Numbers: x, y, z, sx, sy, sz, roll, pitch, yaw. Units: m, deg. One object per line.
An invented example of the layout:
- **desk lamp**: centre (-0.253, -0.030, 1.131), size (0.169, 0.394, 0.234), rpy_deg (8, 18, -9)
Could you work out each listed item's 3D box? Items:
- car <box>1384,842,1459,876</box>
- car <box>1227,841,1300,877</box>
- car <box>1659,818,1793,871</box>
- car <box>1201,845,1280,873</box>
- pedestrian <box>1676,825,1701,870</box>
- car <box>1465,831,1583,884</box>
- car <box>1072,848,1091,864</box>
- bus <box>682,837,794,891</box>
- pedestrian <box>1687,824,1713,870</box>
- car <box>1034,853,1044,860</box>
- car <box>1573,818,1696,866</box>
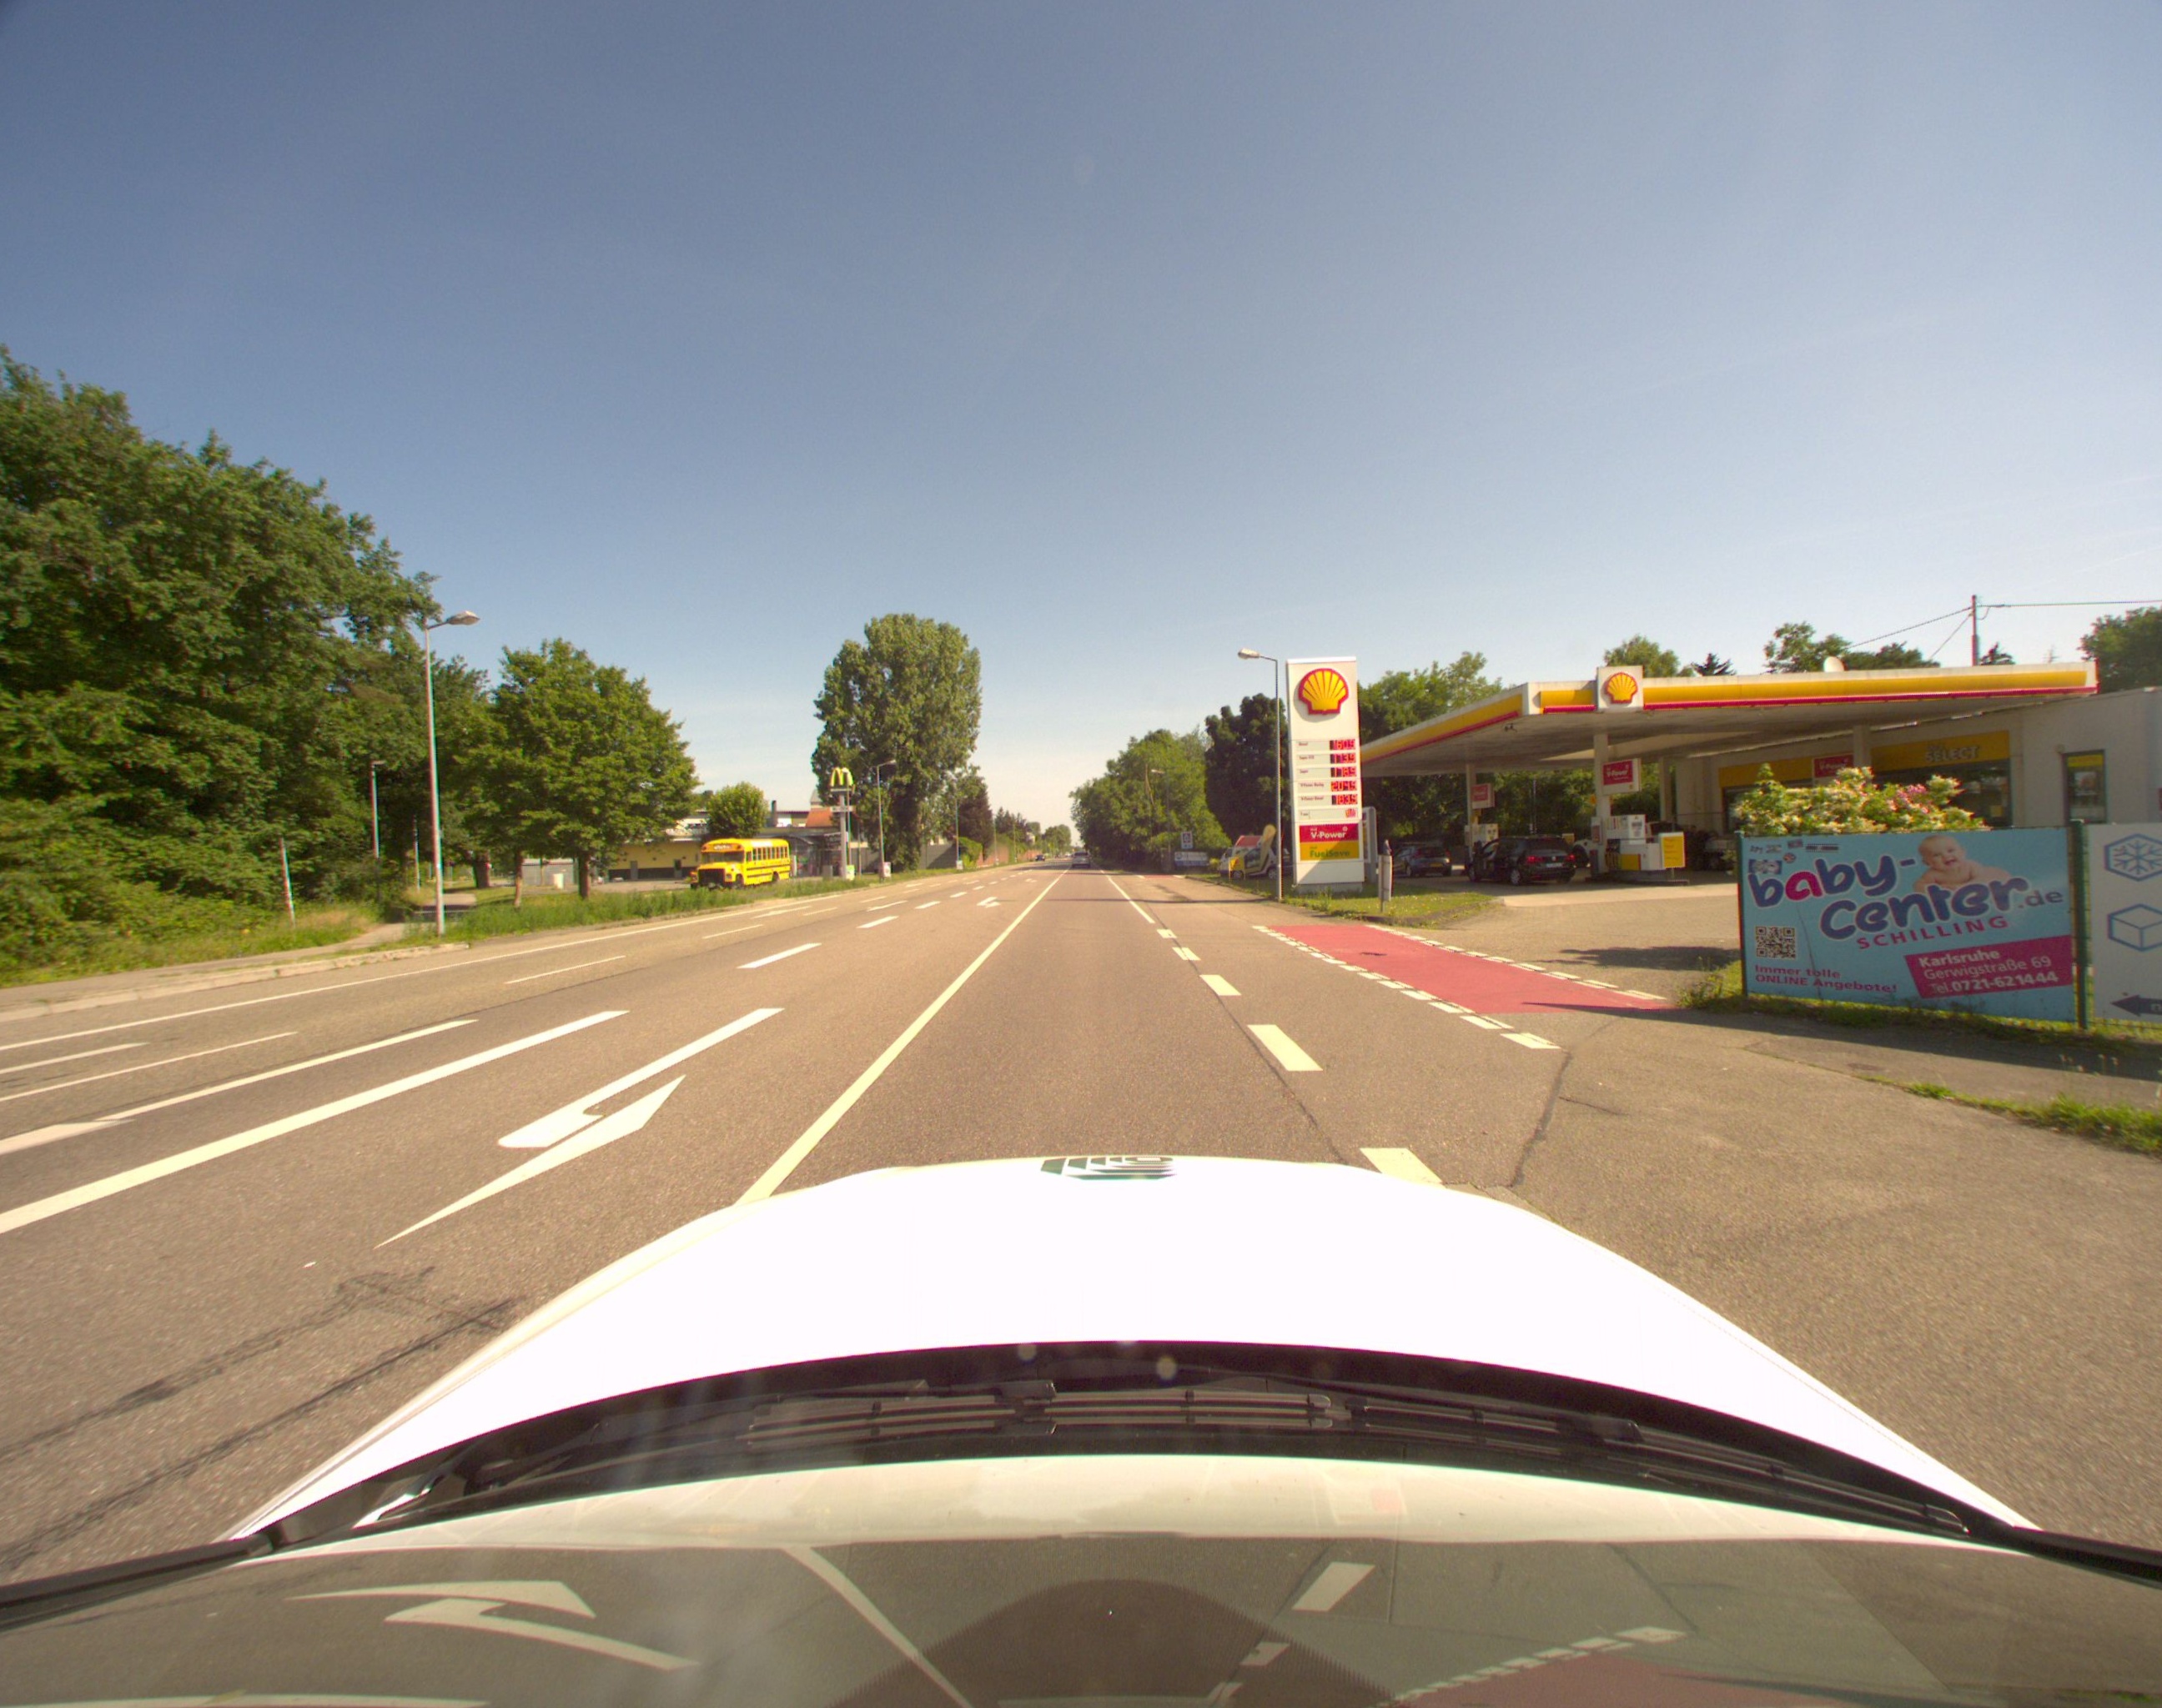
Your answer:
- **car**: centre (14.747, 0.198, 35.500), size (1.790, 1.360, 3.851), rpy_deg (-2, 0, 3)
- **car**: centre (8.114, 0.229, 36.278), size (2.697, 1.530, 1.587), rpy_deg (-2, -2, 44)
- **car**: centre (23.195, -0.311, 29.498), size (1.819, 1.728, 4.004), rpy_deg (-2, -1, 4)
- **car**: centre (8.827, 0.281, 45.189), size (3.983, 1.530, 1.582), rpy_deg (0, -1, -7)
- **pedestrian**: centre (22.089, -0.236, 29.609), size (0.497, 1.631, 0.476), rpy_deg (-2, 0, 3)
- **car**: centre (14.711, 0.111, 27.316), size (1.754, 1.578, 3.875), rpy_deg (-2, 0, -1)
- **car**: centre (0.050, 0.239, 82.108), size (1.840, 1.541, 4.224), rpy_deg (0, 0, 0)
- **bus**: centre (-18.739, 0.512, 45.227), size (2.572, 2.679, 8.991), rpy_deg (0, 0, -2)
- **pedestrian**: centre (21.941, -0.253, 28.858), size (0.497, 1.593, 0.476), rpy_deg (-2, 0, 3)
- **car**: centre (-9.172, 0.526, 178.355), size (1.841, 1.496, 4.911), rpy_deg (-4, 0, 0)
- **car**: centre (23.322, -0.479, 34.565), size (1.846, 1.838, 4.778), rpy_deg (-2, 0, -1)
